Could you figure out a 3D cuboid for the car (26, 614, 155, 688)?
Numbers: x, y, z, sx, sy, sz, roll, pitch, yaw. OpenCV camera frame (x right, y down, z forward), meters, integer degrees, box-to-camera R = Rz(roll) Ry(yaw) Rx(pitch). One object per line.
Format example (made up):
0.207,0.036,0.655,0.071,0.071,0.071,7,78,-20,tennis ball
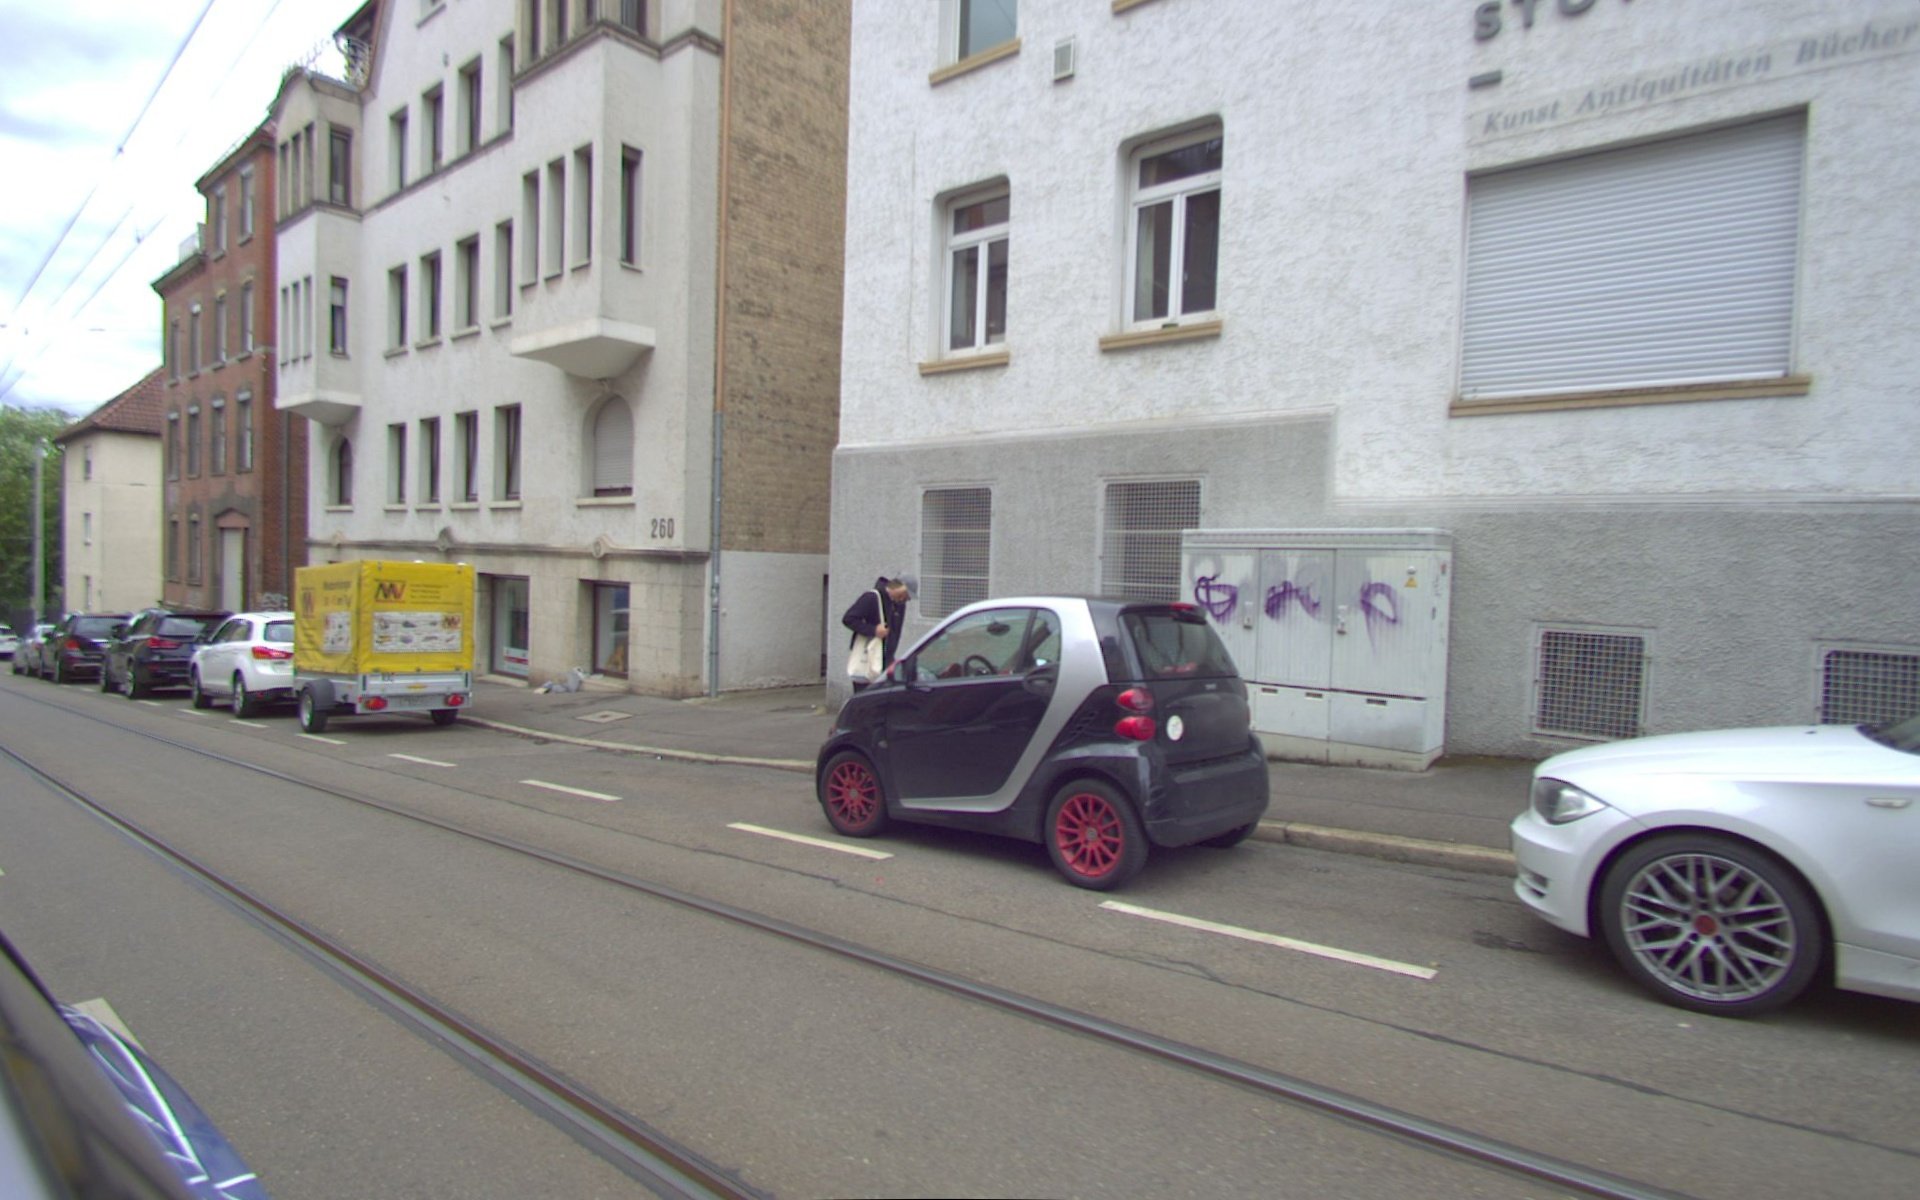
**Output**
-22.320,1.269,25.904,4.911,1.731,1.808,-2,-3,41,car

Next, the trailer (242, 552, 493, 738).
-8.165,0.599,13.810,4.069,2.172,1.730,-2,-3,41,trailer

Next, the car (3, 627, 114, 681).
-26.191,1.537,29.346,4.837,1.440,1.808,-2,-3,41,car

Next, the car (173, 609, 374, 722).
-11.302,1.014,16.550,4.266,1.606,1.679,-2,-3,41,car

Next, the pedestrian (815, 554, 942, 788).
-0.715,0.585,8.876,0.810,1.919,0.583,-1,5,40,pedestrian

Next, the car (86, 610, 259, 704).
-16.022,1.113,20.494,4.889,1.677,1.854,-2,-3,41,car

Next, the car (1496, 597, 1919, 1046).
4.240,0.663,3.103,4.290,1.367,1.761,-1,0,42,car

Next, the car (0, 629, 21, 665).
-40.644,1.912,41.933,4.622,1.440,1.810,-2,-4,39,car

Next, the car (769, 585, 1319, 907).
0.430,0.717,6.307,3.022,1.480,1.679,-1,-3,41,car
